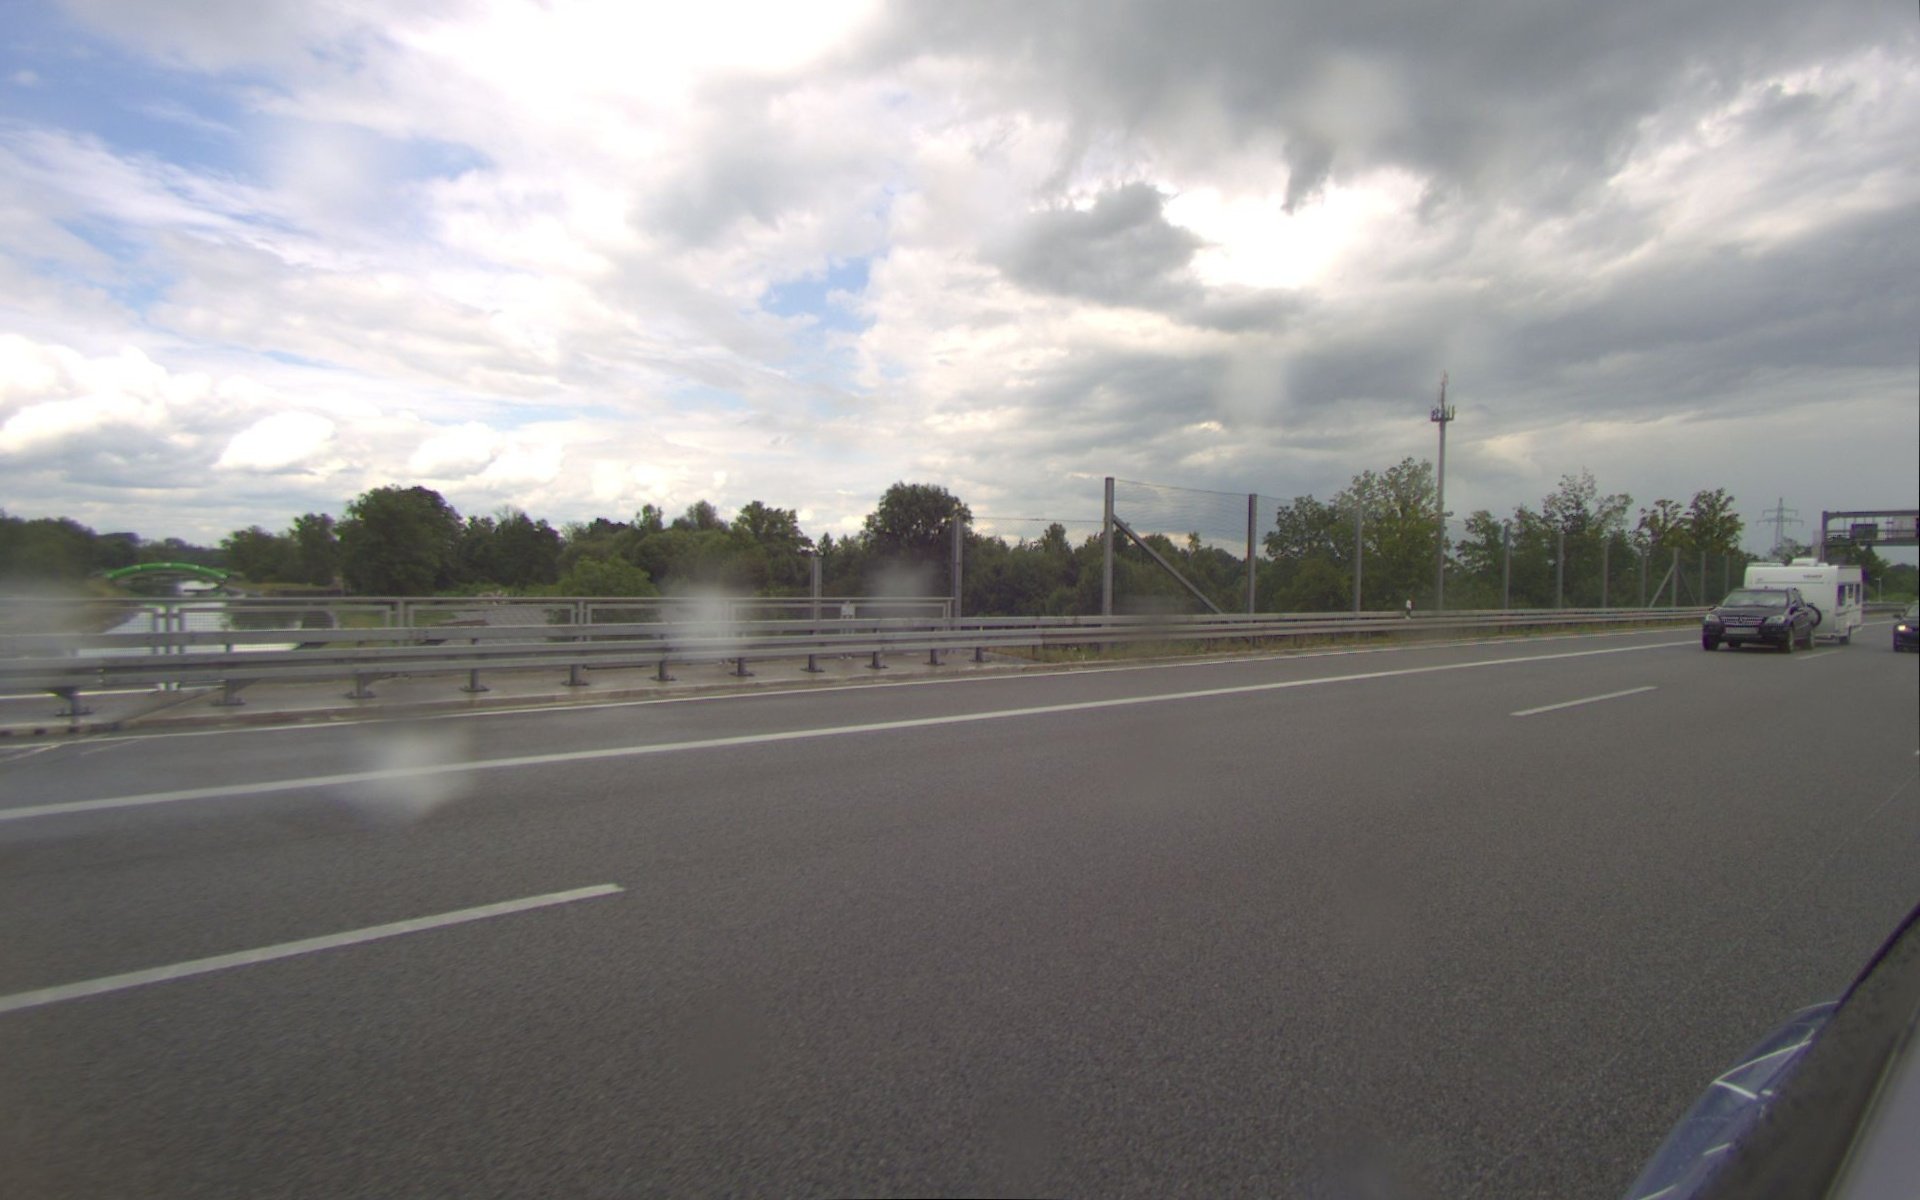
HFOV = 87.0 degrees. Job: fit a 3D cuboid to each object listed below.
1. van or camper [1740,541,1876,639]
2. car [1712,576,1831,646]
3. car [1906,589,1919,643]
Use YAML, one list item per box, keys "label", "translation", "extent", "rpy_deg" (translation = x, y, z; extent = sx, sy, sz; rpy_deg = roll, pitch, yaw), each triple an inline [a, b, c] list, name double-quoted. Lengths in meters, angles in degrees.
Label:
- label: "van or camper"
  translation: [26.901, -0.279, 31.986]
  extent: [7.086, 2.773, 2.387]
  rpy_deg: [0, 0, -42]
- label: "car"
  translation: [22.605, 0.263, 28.138]
  extent: [4.425, 1.798, 1.922]
  rpy_deg: [0, 0, -42]
- label: "car"
  translation: [27.721, 0.443, 28.181]
  extent: [3.932, 1.464, 1.715]
  rpy_deg: [0, 0, -42]
